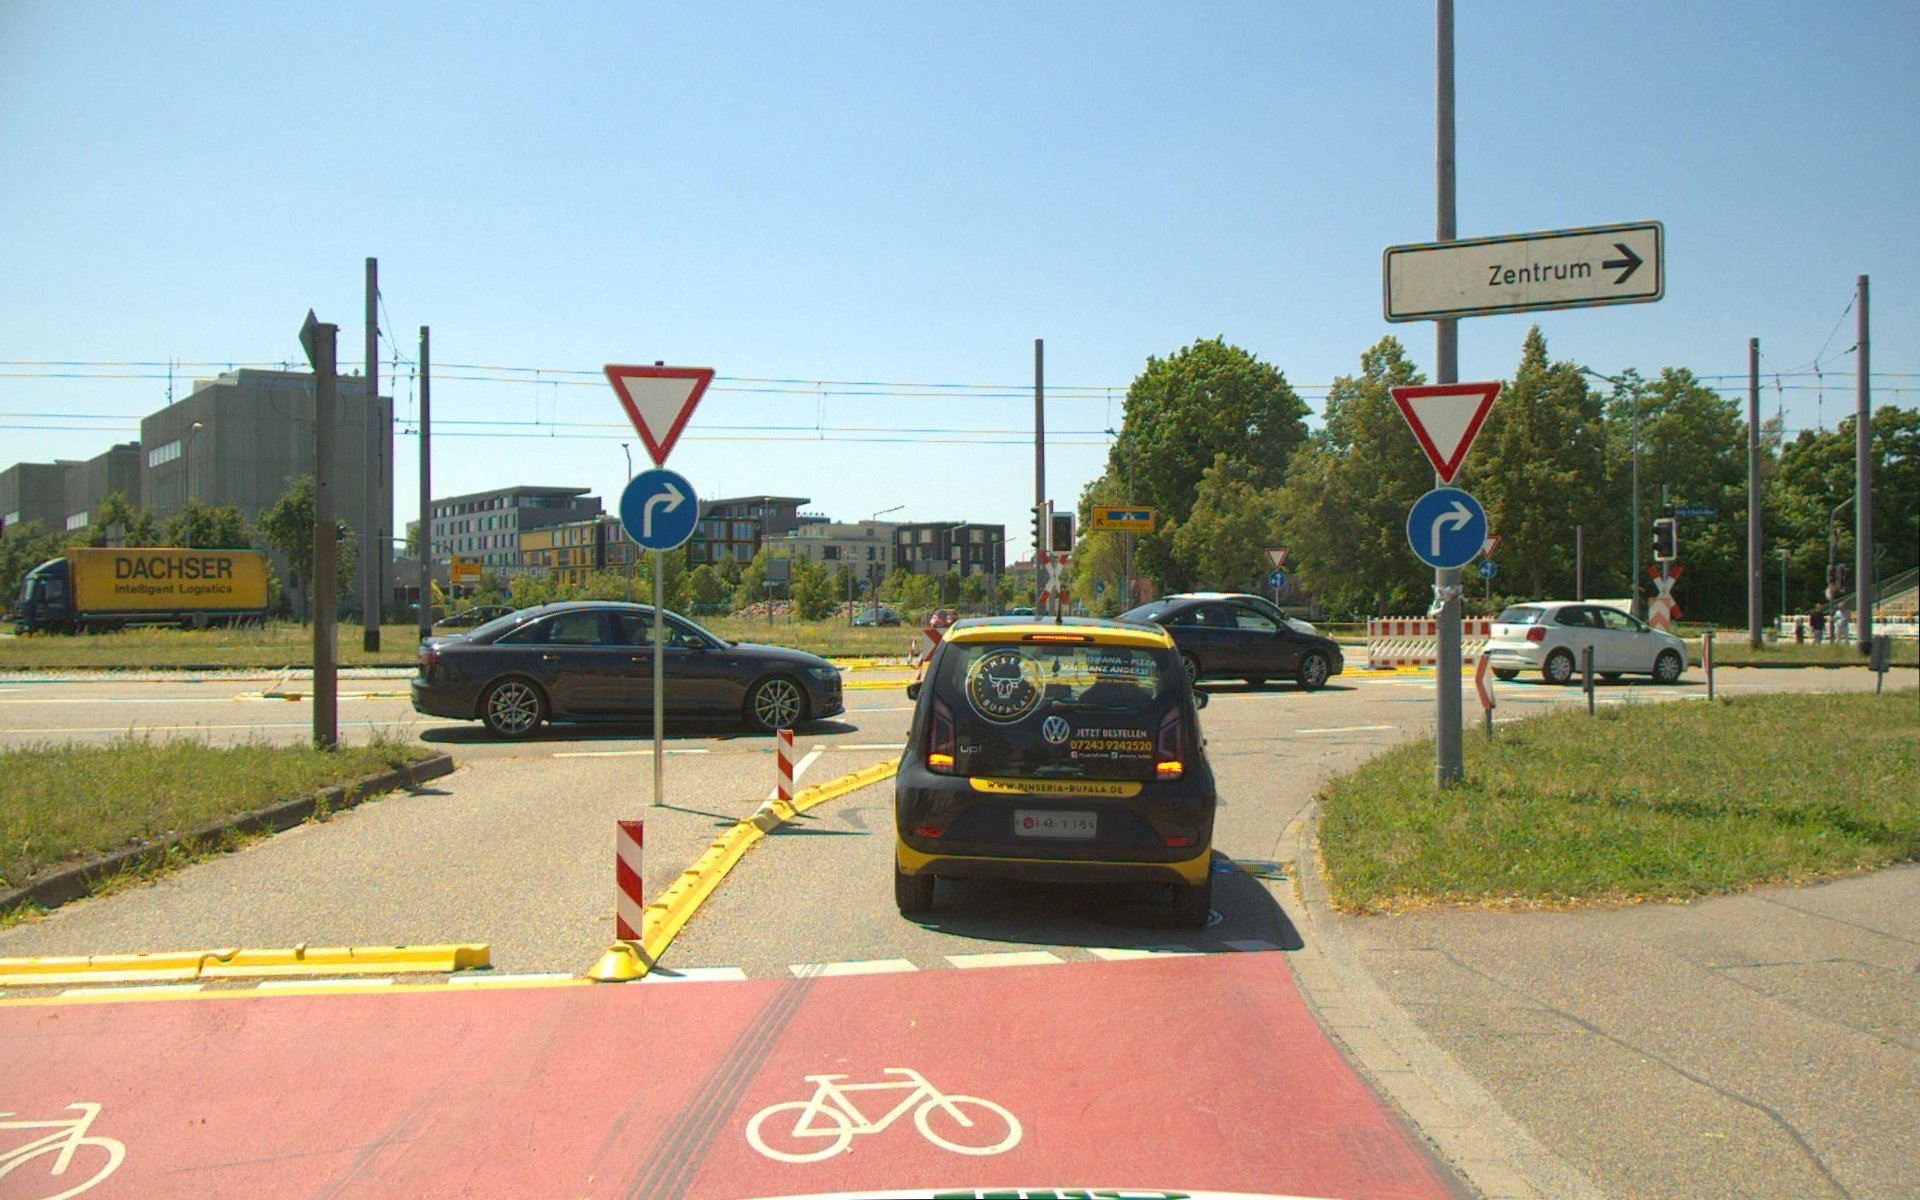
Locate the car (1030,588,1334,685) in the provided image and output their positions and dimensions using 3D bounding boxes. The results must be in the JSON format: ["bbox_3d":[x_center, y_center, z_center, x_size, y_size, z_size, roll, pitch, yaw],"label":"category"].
[{"bbox_3d":[3.668,0.578,27.224,4.684,1.474,1.983,1,0,-26],"label":"car"}]

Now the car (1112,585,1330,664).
[{"bbox_3d":[5.417,0.474,34.190,4.316,1.512,1.976,0,0,-35],"label":"car"}]

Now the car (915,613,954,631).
[{"bbox_3d":[-1.718,1.473,110.738,1.462,1.109,3.521,0,0,20],"label":"car"}]

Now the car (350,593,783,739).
[{"bbox_3d":[-4.437,0.688,18.923,4.558,1.474,1.992,-1,0,-15],"label":"car"}]

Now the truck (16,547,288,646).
[{"bbox_3d":[-32.438,-0.156,66.773,9.533,3.723,2.666,0,0,-42],"label":"truck"}]

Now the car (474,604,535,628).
[{"bbox_3d":[-23.711,0.829,86.116,2.825,1.175,1.205,0,0,4],"label":"car"}]

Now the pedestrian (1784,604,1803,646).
[{"bbox_3d":[29.614,0.889,58.758,0.509,1.454,0.352,0,0,8],"label":"pedestrian"}]

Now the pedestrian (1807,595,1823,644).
[{"bbox_3d":[30.753,0.707,59.514,0.438,1.769,0.291,0,0,11],"label":"pedestrian"}]

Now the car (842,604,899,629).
[{"bbox_3d":[-5.018,0.940,93.265,1.734,1.368,3.316,0,0,29],"label":"car"}]

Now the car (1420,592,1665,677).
[{"bbox_3d":[10.788,0.628,30.611,4.284,1.474,1.841,1,0,-26],"label":"car"}]

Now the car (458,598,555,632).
[{"bbox_3d":[-20.304,0.653,74.052,3.987,1.487,1.715,0,0,-27],"label":"car"}]

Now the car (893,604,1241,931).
[{"bbox_3d":[0.454,0.776,9.577,1.586,1.477,3.985,1,0,-1],"label":"car"}]

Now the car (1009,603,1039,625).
[{"bbox_3d":[4.255,0.904,109.667,1.623,1.396,3.034,0,0,8],"label":"car"}]
